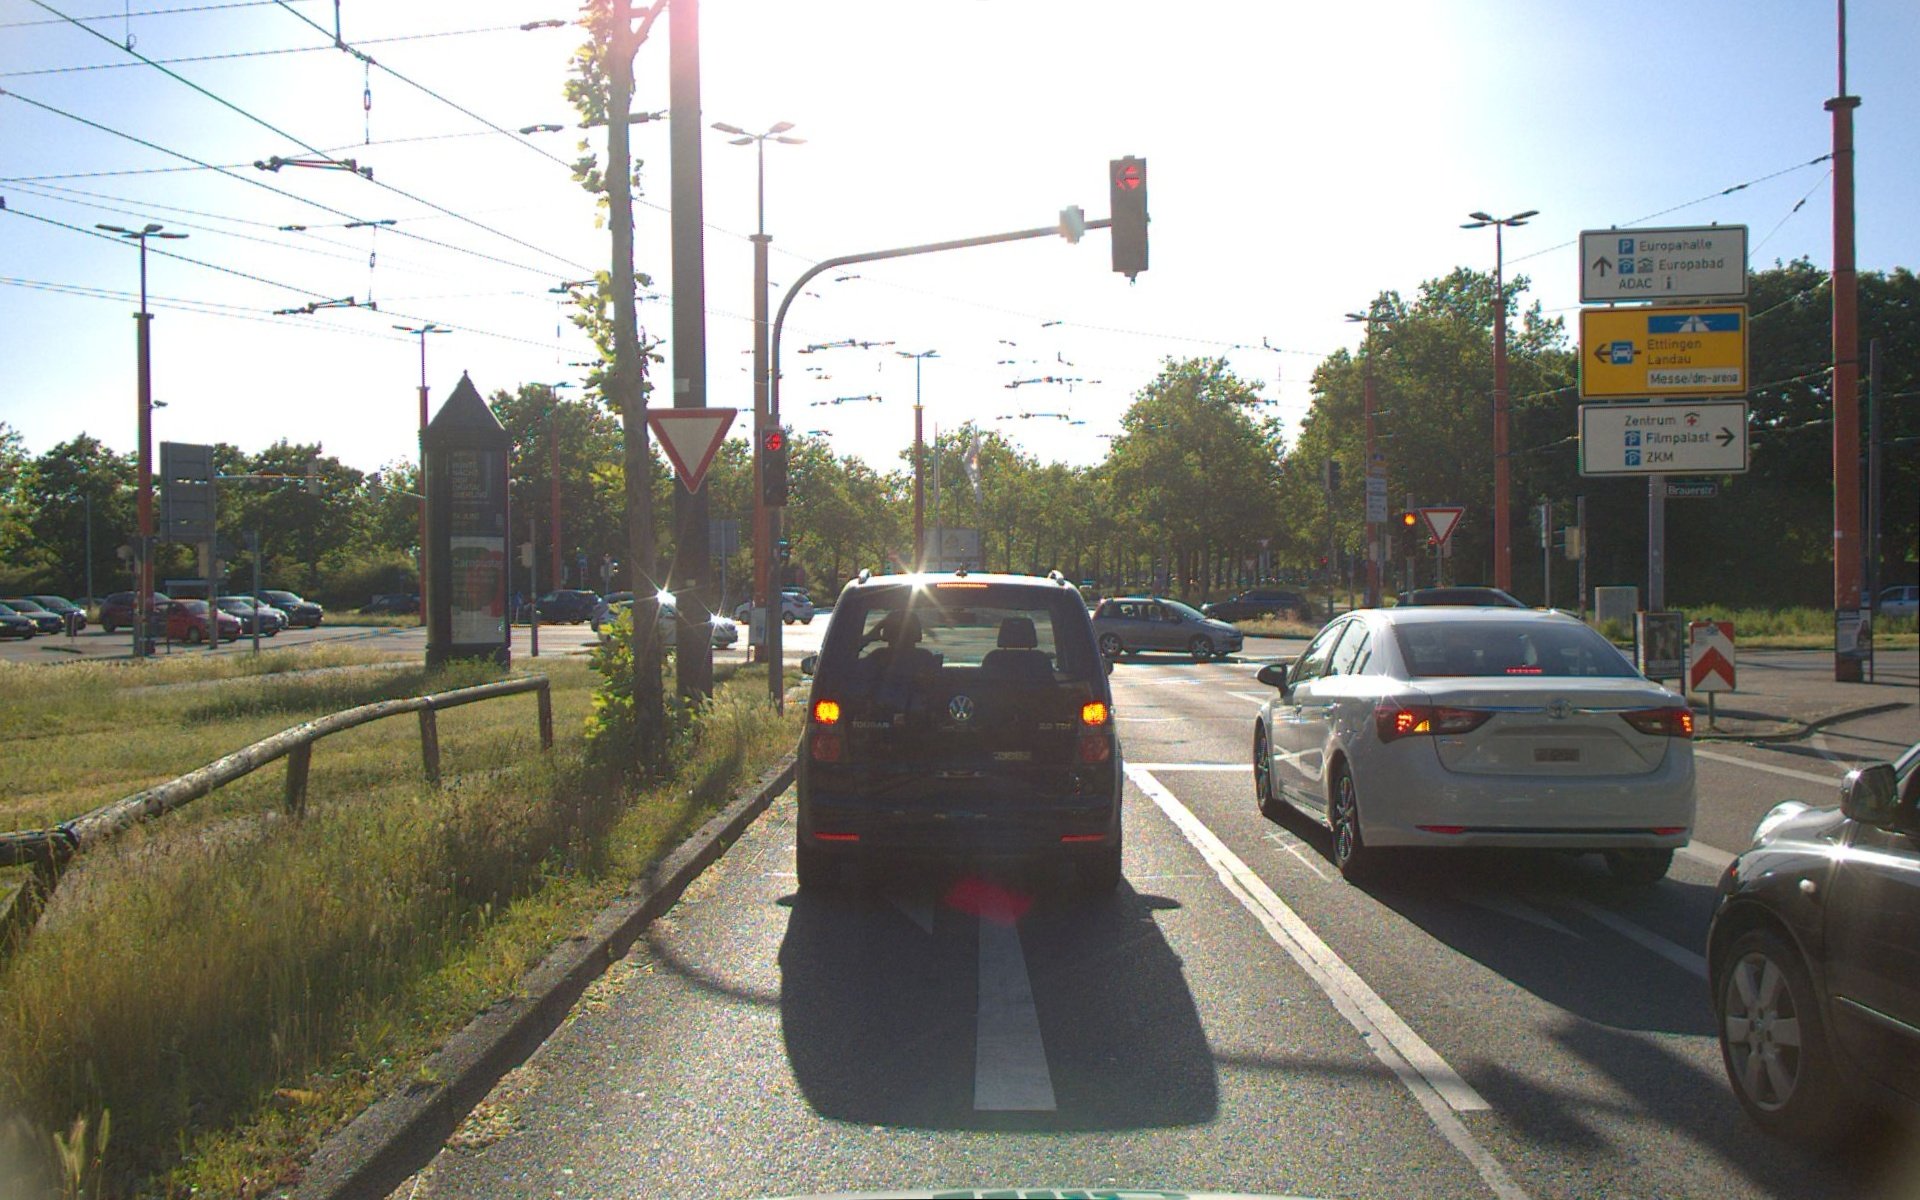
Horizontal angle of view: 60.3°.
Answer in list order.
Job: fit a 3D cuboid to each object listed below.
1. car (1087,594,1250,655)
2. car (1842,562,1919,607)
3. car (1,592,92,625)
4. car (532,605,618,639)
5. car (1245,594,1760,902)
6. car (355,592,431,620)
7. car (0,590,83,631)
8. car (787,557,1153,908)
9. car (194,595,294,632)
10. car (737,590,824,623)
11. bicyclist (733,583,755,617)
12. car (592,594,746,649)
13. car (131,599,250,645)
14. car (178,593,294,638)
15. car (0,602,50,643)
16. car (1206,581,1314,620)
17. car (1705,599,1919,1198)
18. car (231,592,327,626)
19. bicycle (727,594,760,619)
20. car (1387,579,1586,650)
[{"bbox_3d":[5.262,0.590,41.780,3.755,1.466,1.655,0,0,27],"label":"car"},{"bbox_3d":[32.710,-0.522,57.337,3.718,1.537,1.654,0,0,28],"label":"car"},{"bbox_3d":[-40.881,0.365,74.001,4.060,1.440,1.542,0,0,26],"label":"car"},{"bbox_3d":[-18.179,1.036,78.124,3.715,1.537,1.656,0,0,23],"label":"car"},{"bbox_3d":[3.009,0.727,10.194,1.762,1.465,4.326,1,0,0],"label":"car"},{"bbox_3d":[-30.581,0.318,89.262,3.837,1.483,1.655,0,0,26],"label":"car"},{"bbox_3d":[-39.568,0.409,70.199,4.535,1.676,1.755,0,0,24],"label":"car"},{"bbox_3d":[0.062,0.634,9.972,1.703,1.630,4.326,1,0,0],"label":"car"},{"bbox_3d":[-29.414,0.528,67.934,4.060,1.440,1.542,0,0,26],"label":"car"},{"bbox_3d":[-8.565,0.295,78.758,3.837,1.483,1.655,0,0,26],"label":"car"},{"bbox_3d":[-12.316,-0.009,94.324,0.955,1.937,1.051,0,0,12],"label":"bicyclist"},{"bbox_3d":[-8.690,0.622,49.271,4.536,1.546,1.654,0,0,30],"label":"car"},{"bbox_3d":[-27.393,0.764,58.890,4.104,1.546,1.655,0,0,26],"label":"car"},{"bbox_3d":[-27.931,0.576,63.797,4.541,1.676,1.753,0,0,30],"label":"car"},{"bbox_3d":[-37.940,0.857,65.269,4.107,1.546,1.654,0,0,30],"label":"car"},{"bbox_3d":[12.276,0.011,67.668,4.055,1.537,1.654,0,0,28],"label":"car"},{"bbox_3d":[3.131,0.741,3.498,1.544,1.465,3.441,1,0,0],"label":"car"},{"bbox_3d":[-29.477,0.369,71.556,4.060,1.440,1.542,0,0,26],"label":"car"},{"bbox_3d":[-12.323,0.370,94.283,0.955,1.413,2.982,0,0,12],"label":"bicycle"},{"bbox_3d":[13.187,0.330,41.491,4.541,1.676,1.654,0,0,30],"label":"car"}]
